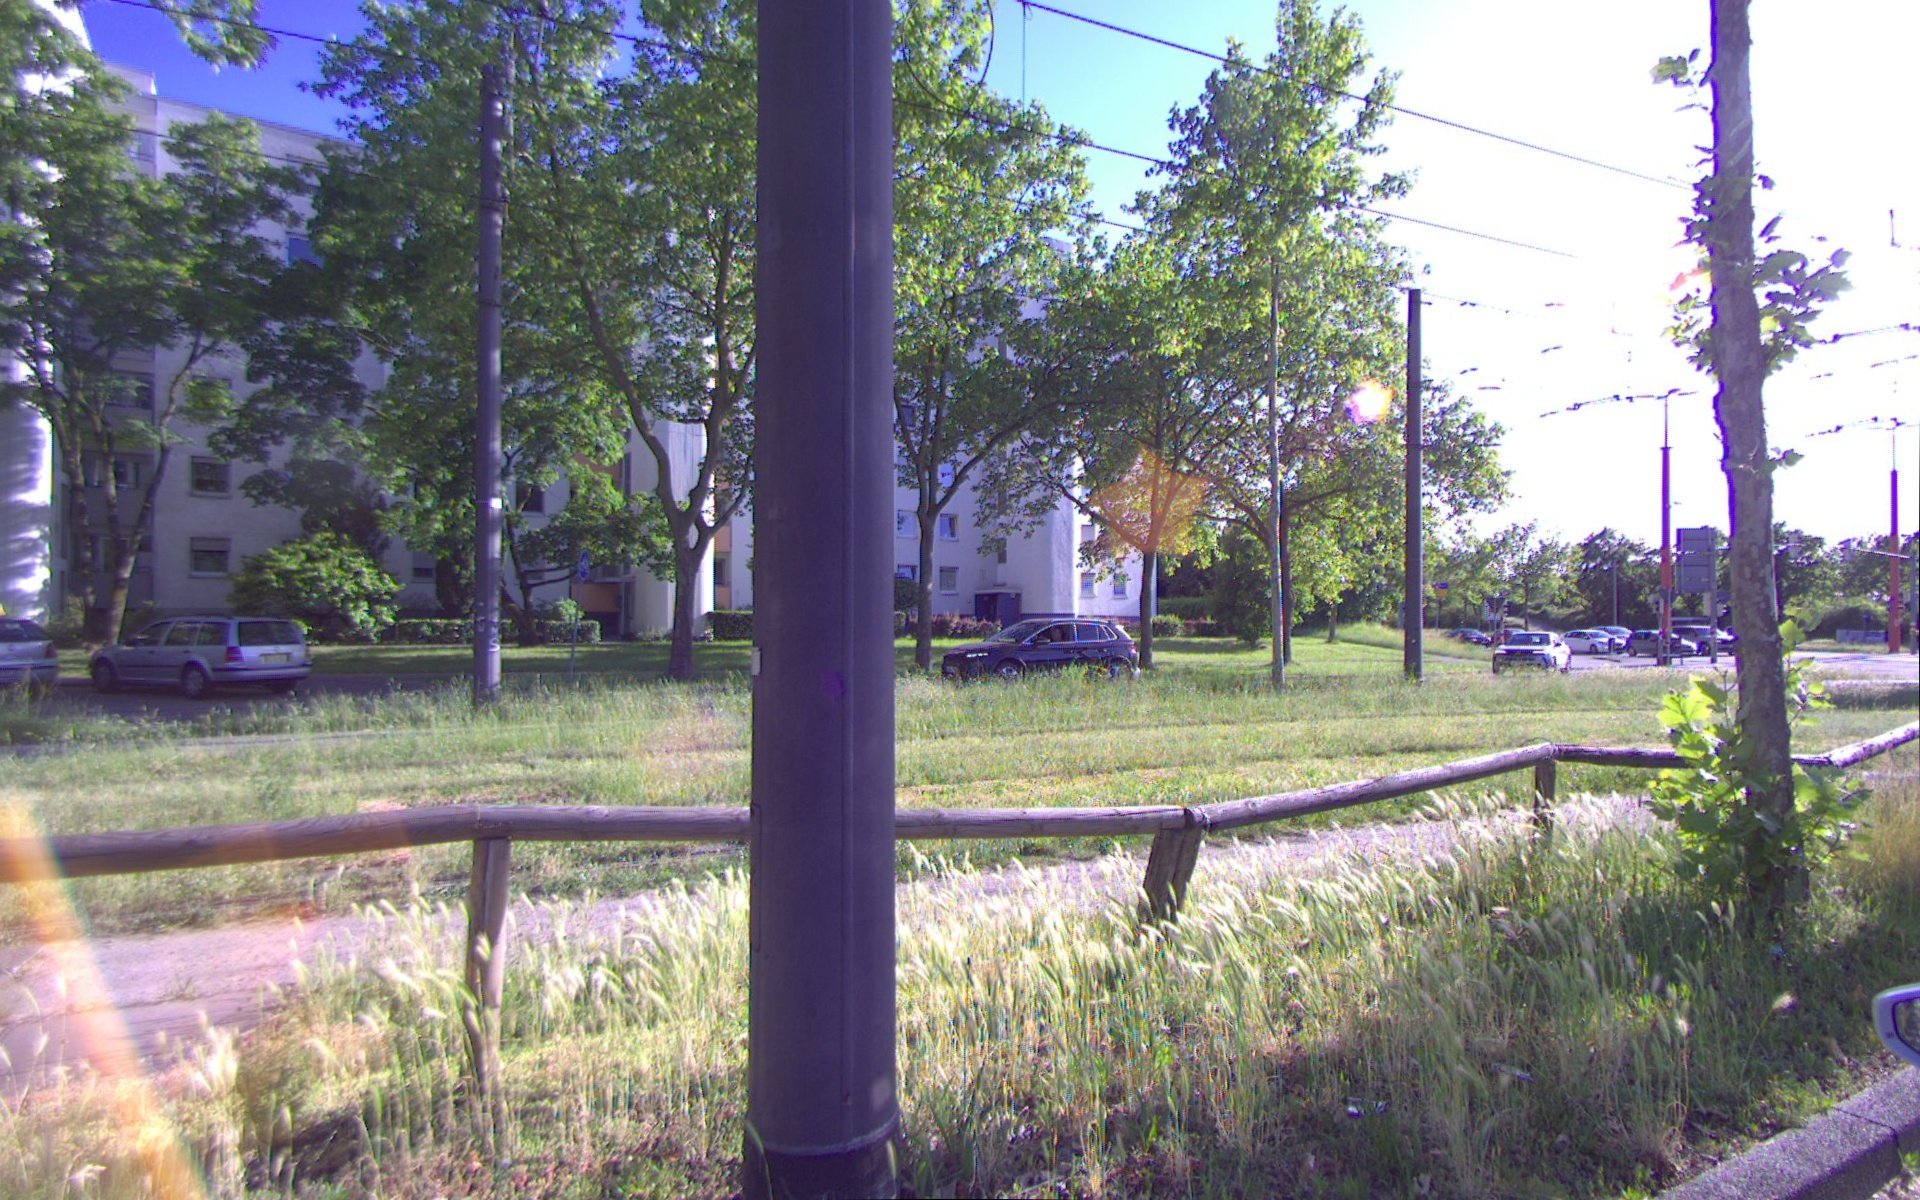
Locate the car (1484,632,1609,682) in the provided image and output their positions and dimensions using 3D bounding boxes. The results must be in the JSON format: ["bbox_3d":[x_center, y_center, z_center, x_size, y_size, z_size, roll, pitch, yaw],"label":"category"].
[{"bbox_3d":[19.683,1.885,33.657,4.280,1.543,1.797,1,-1,-31],"label":"car"}]

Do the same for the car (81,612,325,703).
[{"bbox_3d":[-14.124,1.014,18.773,3.898,1.462,1.710,1,0,18],"label":"car"}]

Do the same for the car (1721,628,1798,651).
[{"bbox_3d":[49.282,2.413,62.019,1.664,1.347,4.001,1,-1,2],"label":"car"}]

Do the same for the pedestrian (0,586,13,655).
[{"bbox_3d":[-25.300,0.528,26.287,0.628,1.780,0.518,1,-1,-32],"label":"pedestrian"}]

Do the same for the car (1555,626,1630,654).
[{"bbox_3d":[39.428,2.490,62.703,1.833,1.633,4.185,1,-1,-4],"label":"car"}]

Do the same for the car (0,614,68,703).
[{"bbox_3d":[-17.521,0.961,17.358,3.547,1.439,1.576,1,0,18],"label":"car"}]

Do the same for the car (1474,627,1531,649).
[{"bbox_3d":[38.860,2.703,72.039,1.699,1.533,3.998,1,-1,-4],"label":"car"}]

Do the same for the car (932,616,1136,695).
[{"bbox_3d":[1.596,1.124,21.321,4.054,1.532,1.756,1,-1,-30],"label":"car"}]

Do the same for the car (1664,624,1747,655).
[{"bbox_3d":[43.005,2.258,58.053,1.960,1.666,4.001,1,-1,2],"label":"car"}]
